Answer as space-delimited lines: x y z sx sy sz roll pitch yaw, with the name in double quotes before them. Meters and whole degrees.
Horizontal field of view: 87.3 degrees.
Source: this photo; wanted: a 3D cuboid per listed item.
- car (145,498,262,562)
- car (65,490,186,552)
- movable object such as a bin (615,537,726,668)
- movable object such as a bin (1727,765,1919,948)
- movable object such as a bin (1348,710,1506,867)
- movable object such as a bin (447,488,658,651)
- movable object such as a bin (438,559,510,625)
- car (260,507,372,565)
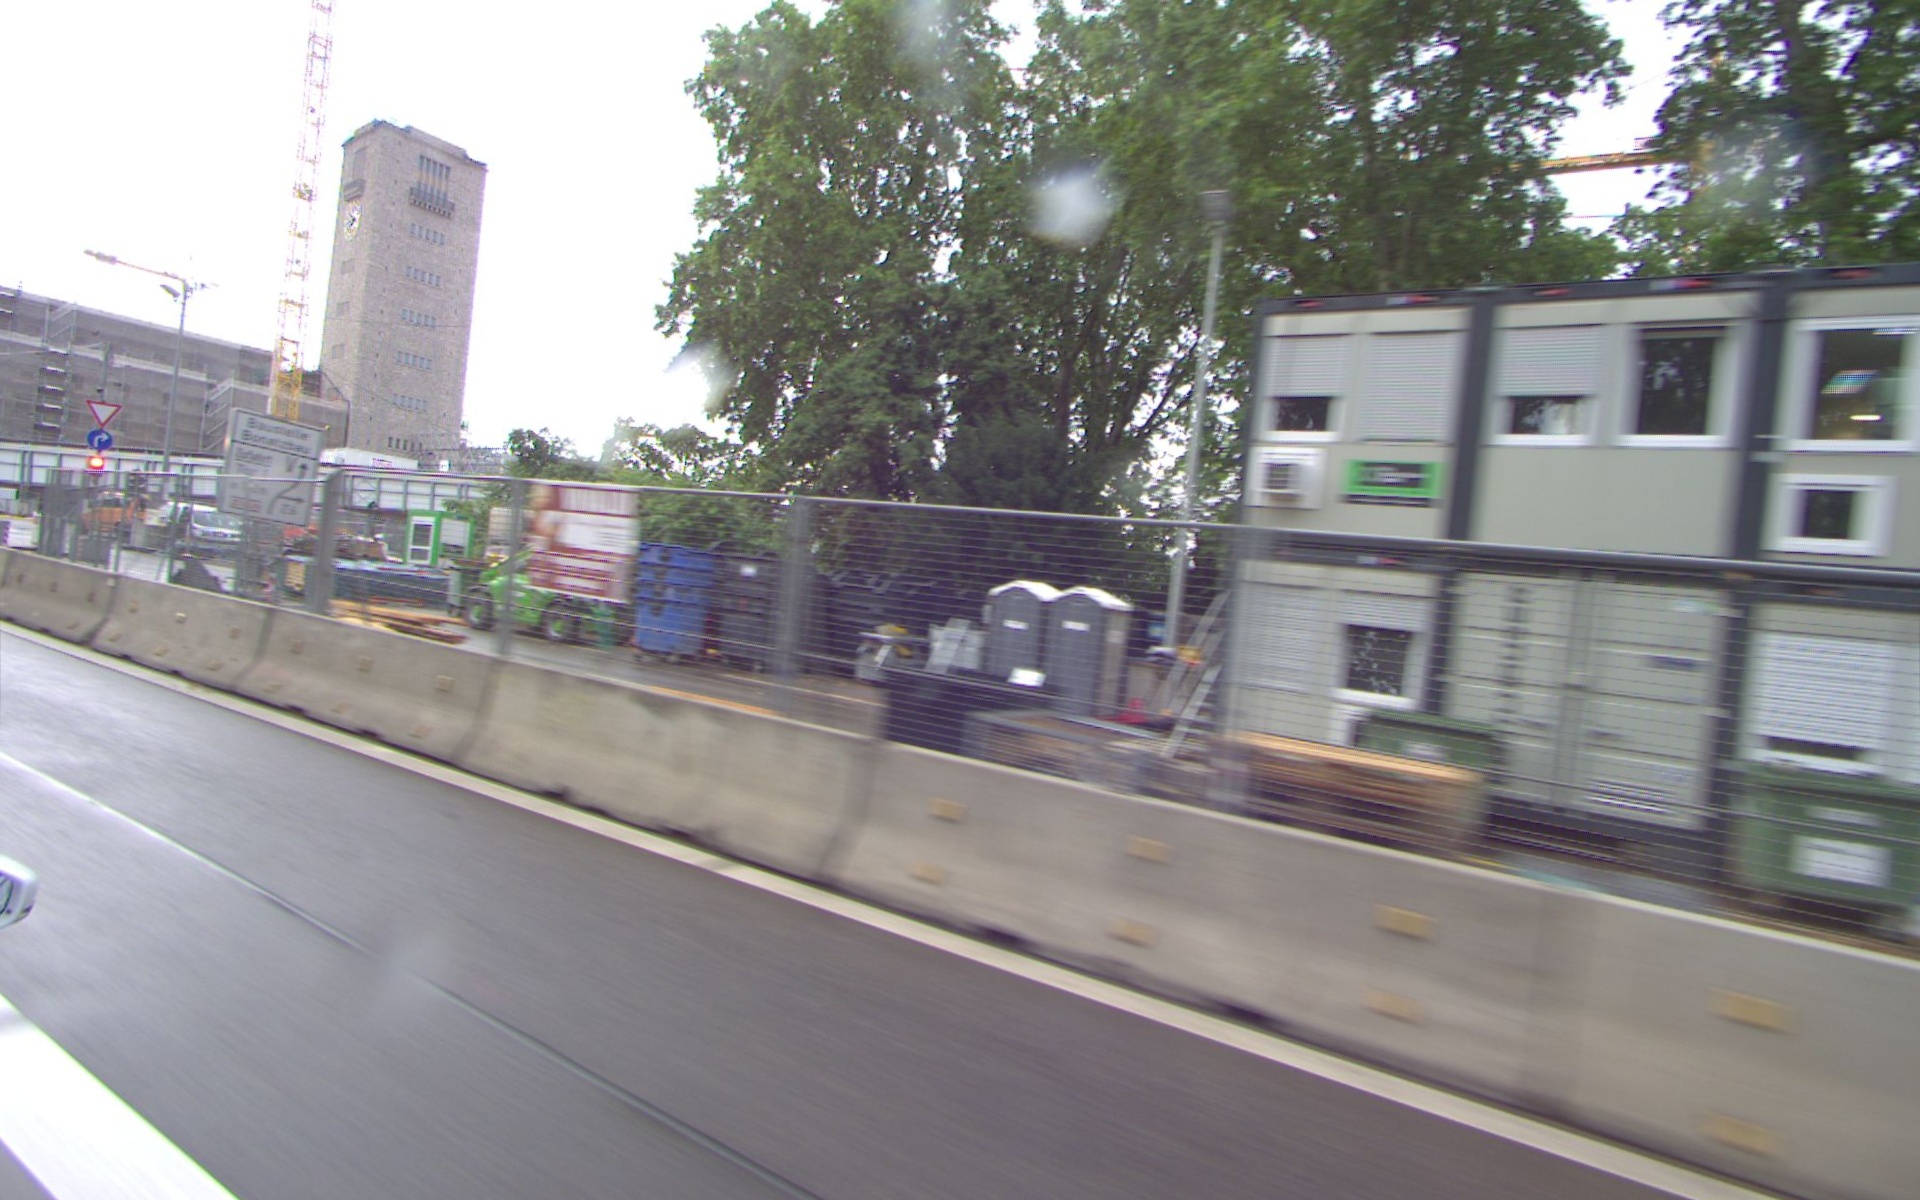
"car" -29.274 -2.732 38.892 5.002 1.829 1.848 8 0 32
"car" -34.490 -3.271 41.564 5.073 1.999 1.916 6 0 28
"movable object such as a bin" -5.440 0.070 19.016 1.241 2.230 1.462 8 0 9
"movable object such as a bin" 7.333 2.096 8.457 1.219 1.137 1.247 4 0 32
"movable object such as a bin" 4.692 1.819 10.071 1.219 1.252 1.247 4 0 32
"movable object such as a bin" -8.571 -0.642 21.131 3.798 2.844 1.811 8 1 28
"movable object such as a bin" -11.618 -0.200 24.037 1.170 1.361 1.251 8 0 -38
"car" -32.197 -3.195 50.298 5.506 2.343 2.048 6 1 26
